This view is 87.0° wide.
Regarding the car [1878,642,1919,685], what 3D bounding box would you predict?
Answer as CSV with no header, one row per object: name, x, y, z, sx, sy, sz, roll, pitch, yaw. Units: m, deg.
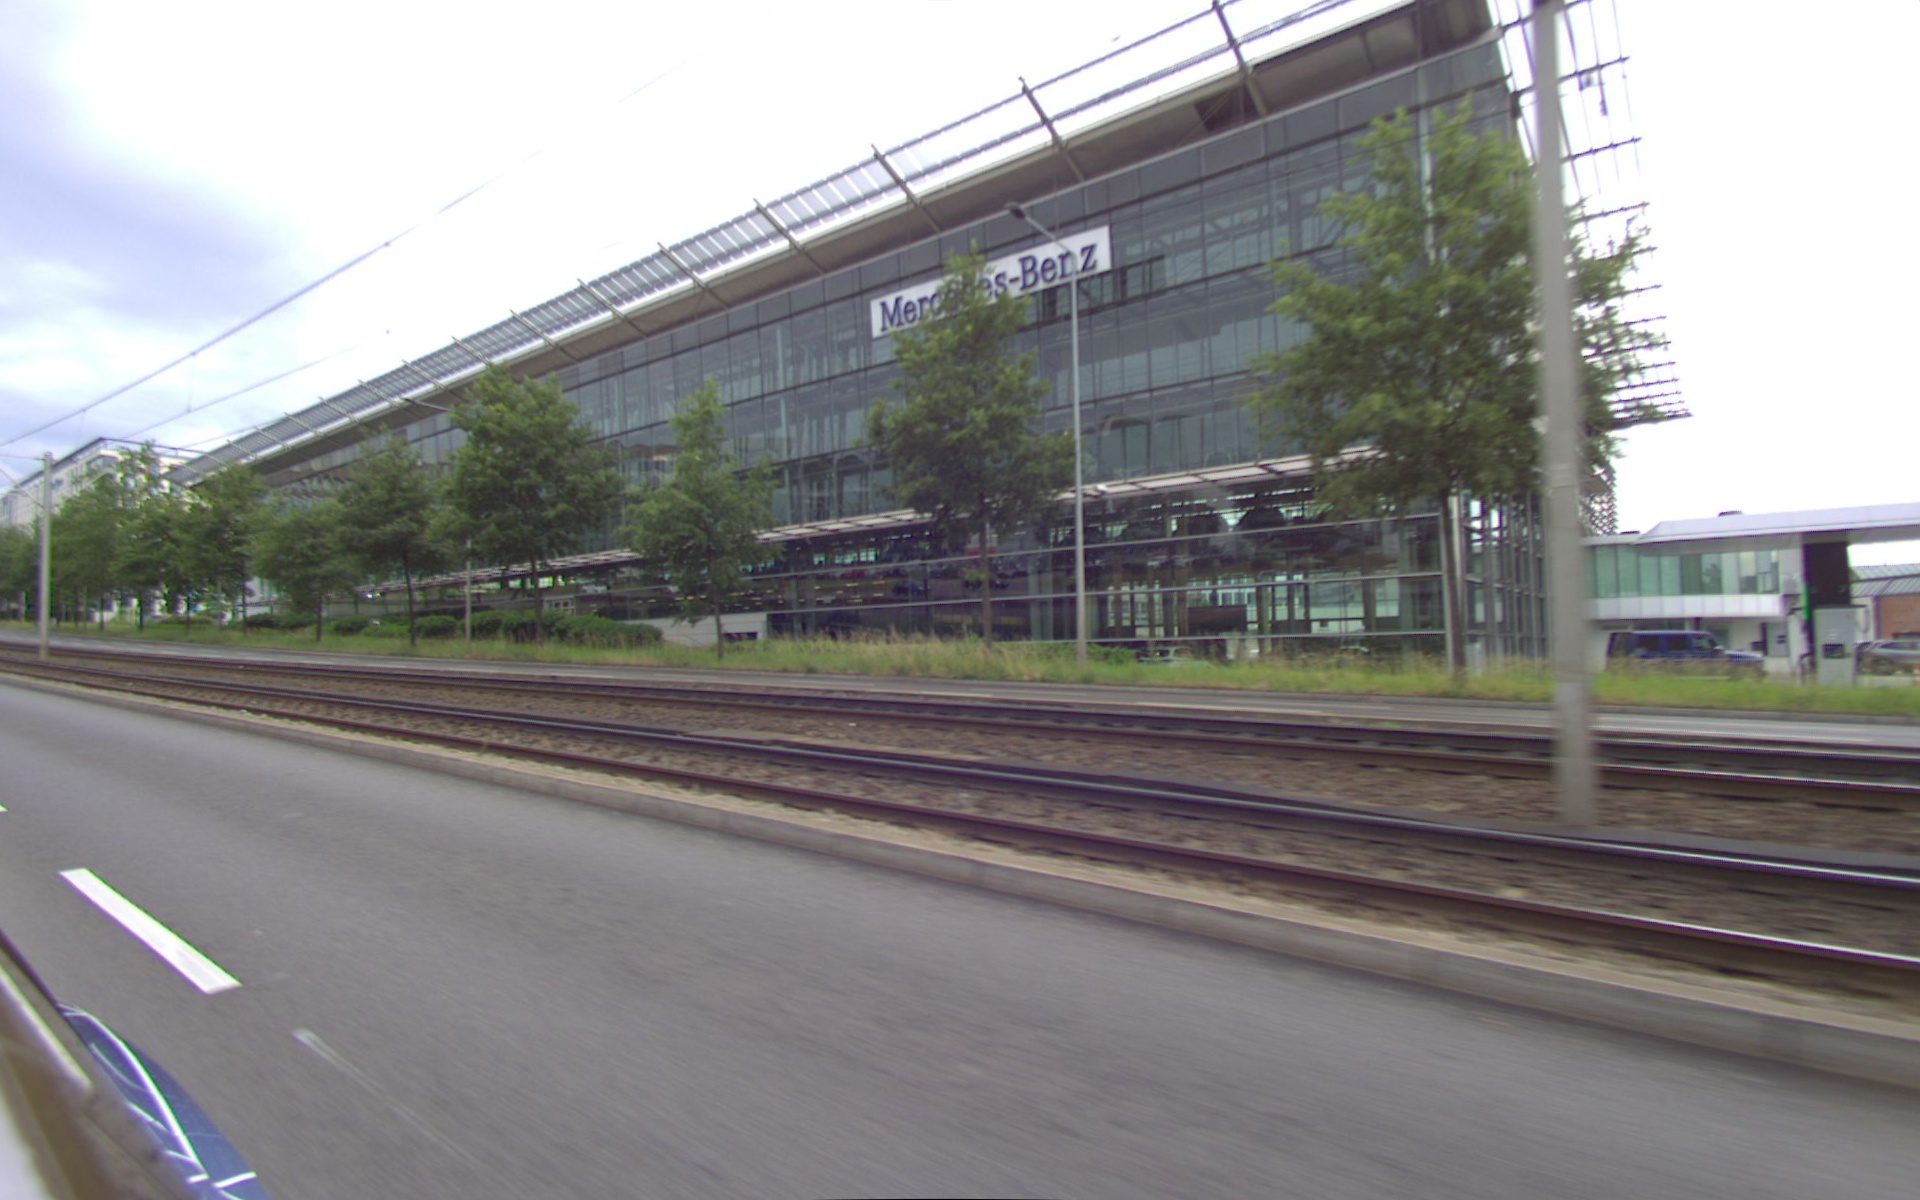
car,42.451,2.793,43.849,1.754,1.723,3.754,0,0,-40

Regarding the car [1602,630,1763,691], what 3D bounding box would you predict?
car,24.230,1.996,34.096,3.958,1.864,1.888,0,0,11
